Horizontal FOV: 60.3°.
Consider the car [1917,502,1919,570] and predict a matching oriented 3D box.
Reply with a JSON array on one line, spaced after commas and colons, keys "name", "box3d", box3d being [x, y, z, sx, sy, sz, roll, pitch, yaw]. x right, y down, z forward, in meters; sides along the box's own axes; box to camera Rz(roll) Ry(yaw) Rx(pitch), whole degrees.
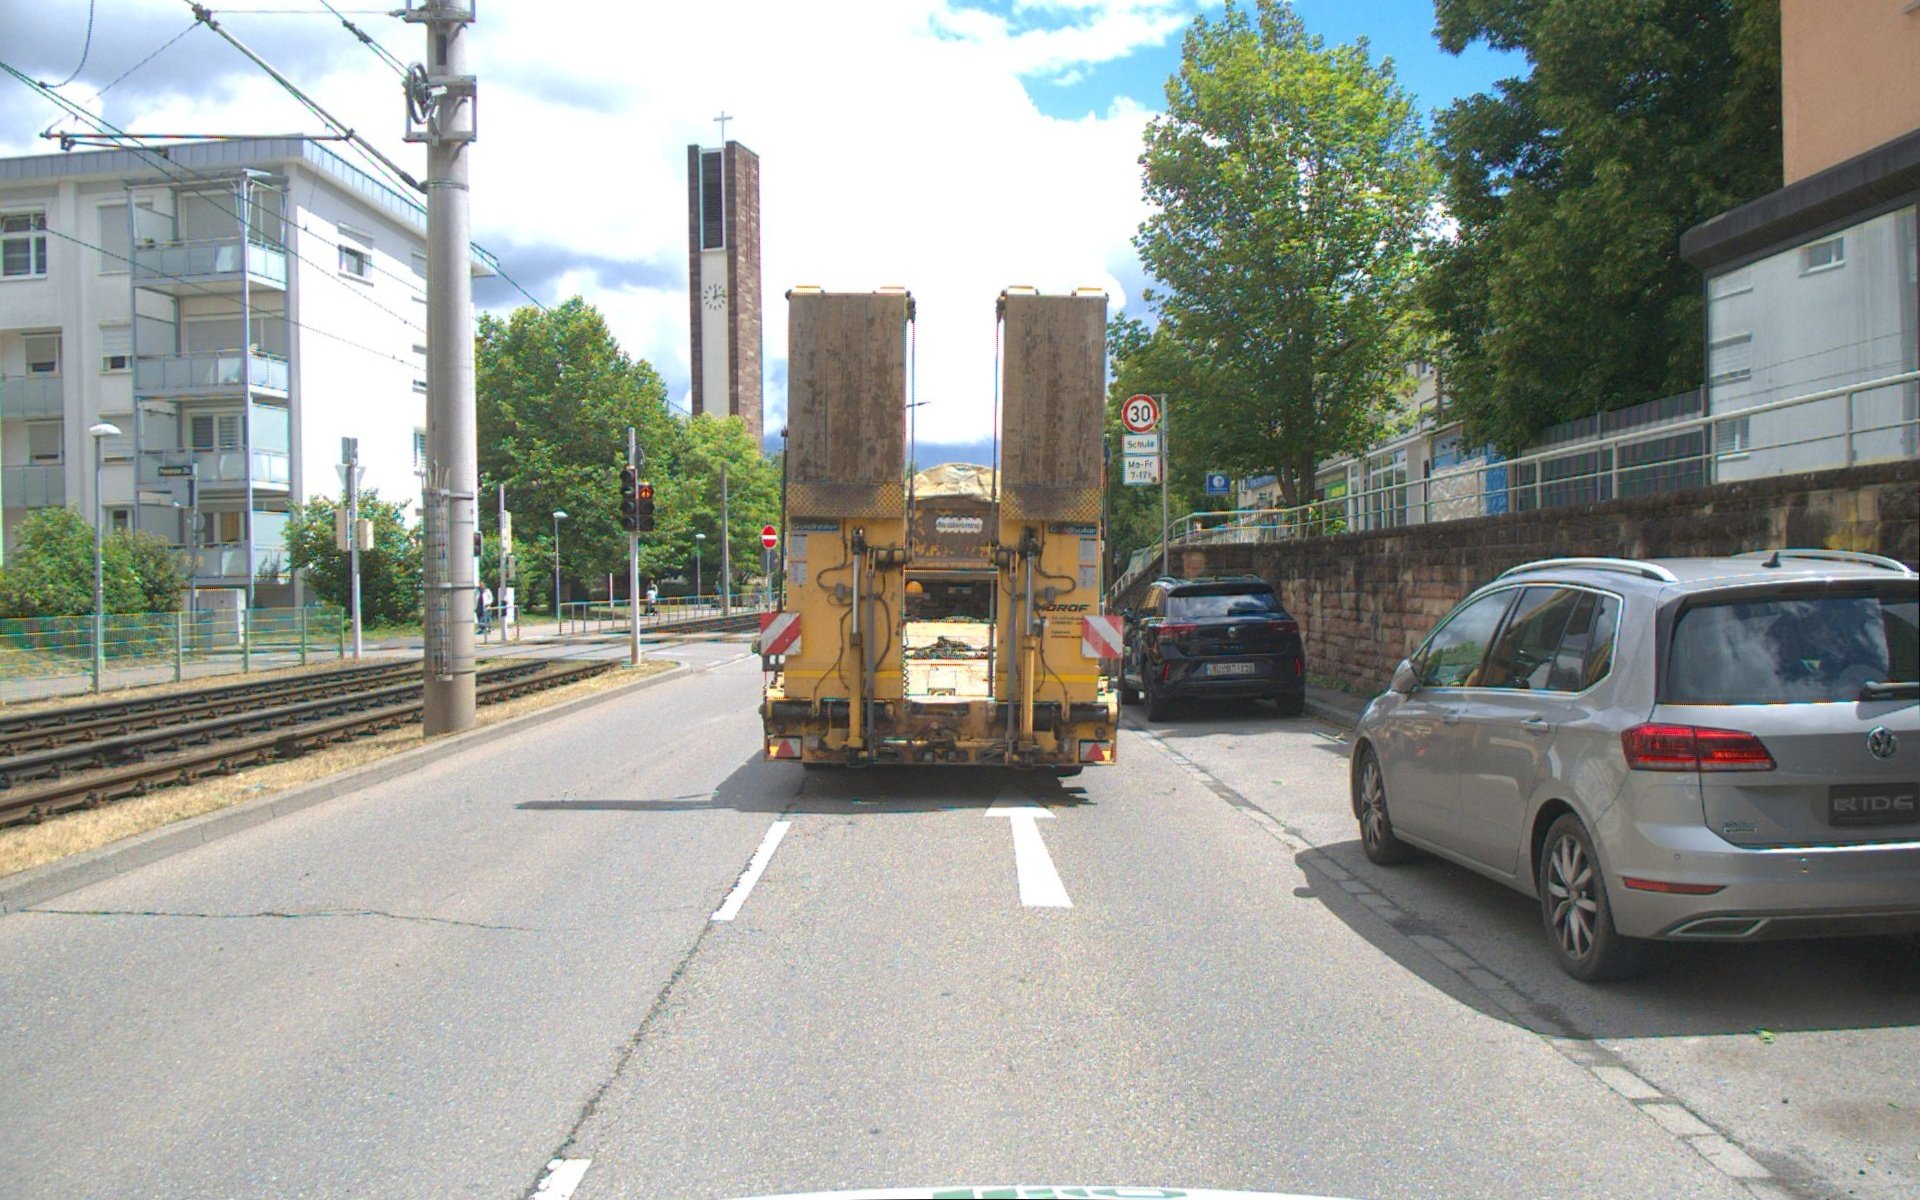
[{"name": "car", "box3d": [3.141, 0.577, 1.569, 1.754, 1.646, 4.446, -3, 1, -2]}]

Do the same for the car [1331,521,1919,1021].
[{"name": "car", "box3d": [3.144, 0.539, 7.683, 1.754, 1.646, 4.247, -2, 0, -2]}]

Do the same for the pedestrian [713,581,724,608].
[{"name": "pedestrian", "box3d": [-13.696, -0.313, 93.859, 0.552, 1.540, 0.645, 1, 0, -2]}]

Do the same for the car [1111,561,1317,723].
[{"name": "car", "box3d": [2.901, 0.438, 19.704, 1.813, 1.668, 4.000, -2, 0, 0]}]

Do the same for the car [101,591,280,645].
[{"name": "car", "box3d": [-20.513, 0.461, 44.162, 3.902, 1.369, 1.903, -1, 0, 7]}]

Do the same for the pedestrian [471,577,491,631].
[{"name": "pedestrian", "box3d": [-14.481, 0.113, 50.018, 0.428, 1.608, 0.475, 0, 0, 4]}]

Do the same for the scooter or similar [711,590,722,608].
[{"name": "scooter or similar", "box3d": [-13.711, -0.037, 93.208, 0.495, 0.988, 0.645, 1, 0, -2]}]

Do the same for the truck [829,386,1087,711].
[{"name": "truck", "box3d": [-0.027, -0.606, 21.067, 2.882, 3.635, 4.876, -1, 1, 0]}]

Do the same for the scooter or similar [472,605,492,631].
[{"name": "scooter or similar", "box3d": [-14.307, 0.542, 49.546, 0.428, 0.760, 0.475, 0, 0, 4]}]

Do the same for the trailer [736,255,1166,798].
[{"name": "trailer", "box3d": [-0.035, -0.550, 15.568, 2.884, 3.664, 8.684, -1, 1, 0]}]

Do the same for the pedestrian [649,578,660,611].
[{"name": "pedestrian", "box3d": [-14.296, -0.254, 77.441, 0.341, 1.564, 0.557, 0, 0, 3]}]
